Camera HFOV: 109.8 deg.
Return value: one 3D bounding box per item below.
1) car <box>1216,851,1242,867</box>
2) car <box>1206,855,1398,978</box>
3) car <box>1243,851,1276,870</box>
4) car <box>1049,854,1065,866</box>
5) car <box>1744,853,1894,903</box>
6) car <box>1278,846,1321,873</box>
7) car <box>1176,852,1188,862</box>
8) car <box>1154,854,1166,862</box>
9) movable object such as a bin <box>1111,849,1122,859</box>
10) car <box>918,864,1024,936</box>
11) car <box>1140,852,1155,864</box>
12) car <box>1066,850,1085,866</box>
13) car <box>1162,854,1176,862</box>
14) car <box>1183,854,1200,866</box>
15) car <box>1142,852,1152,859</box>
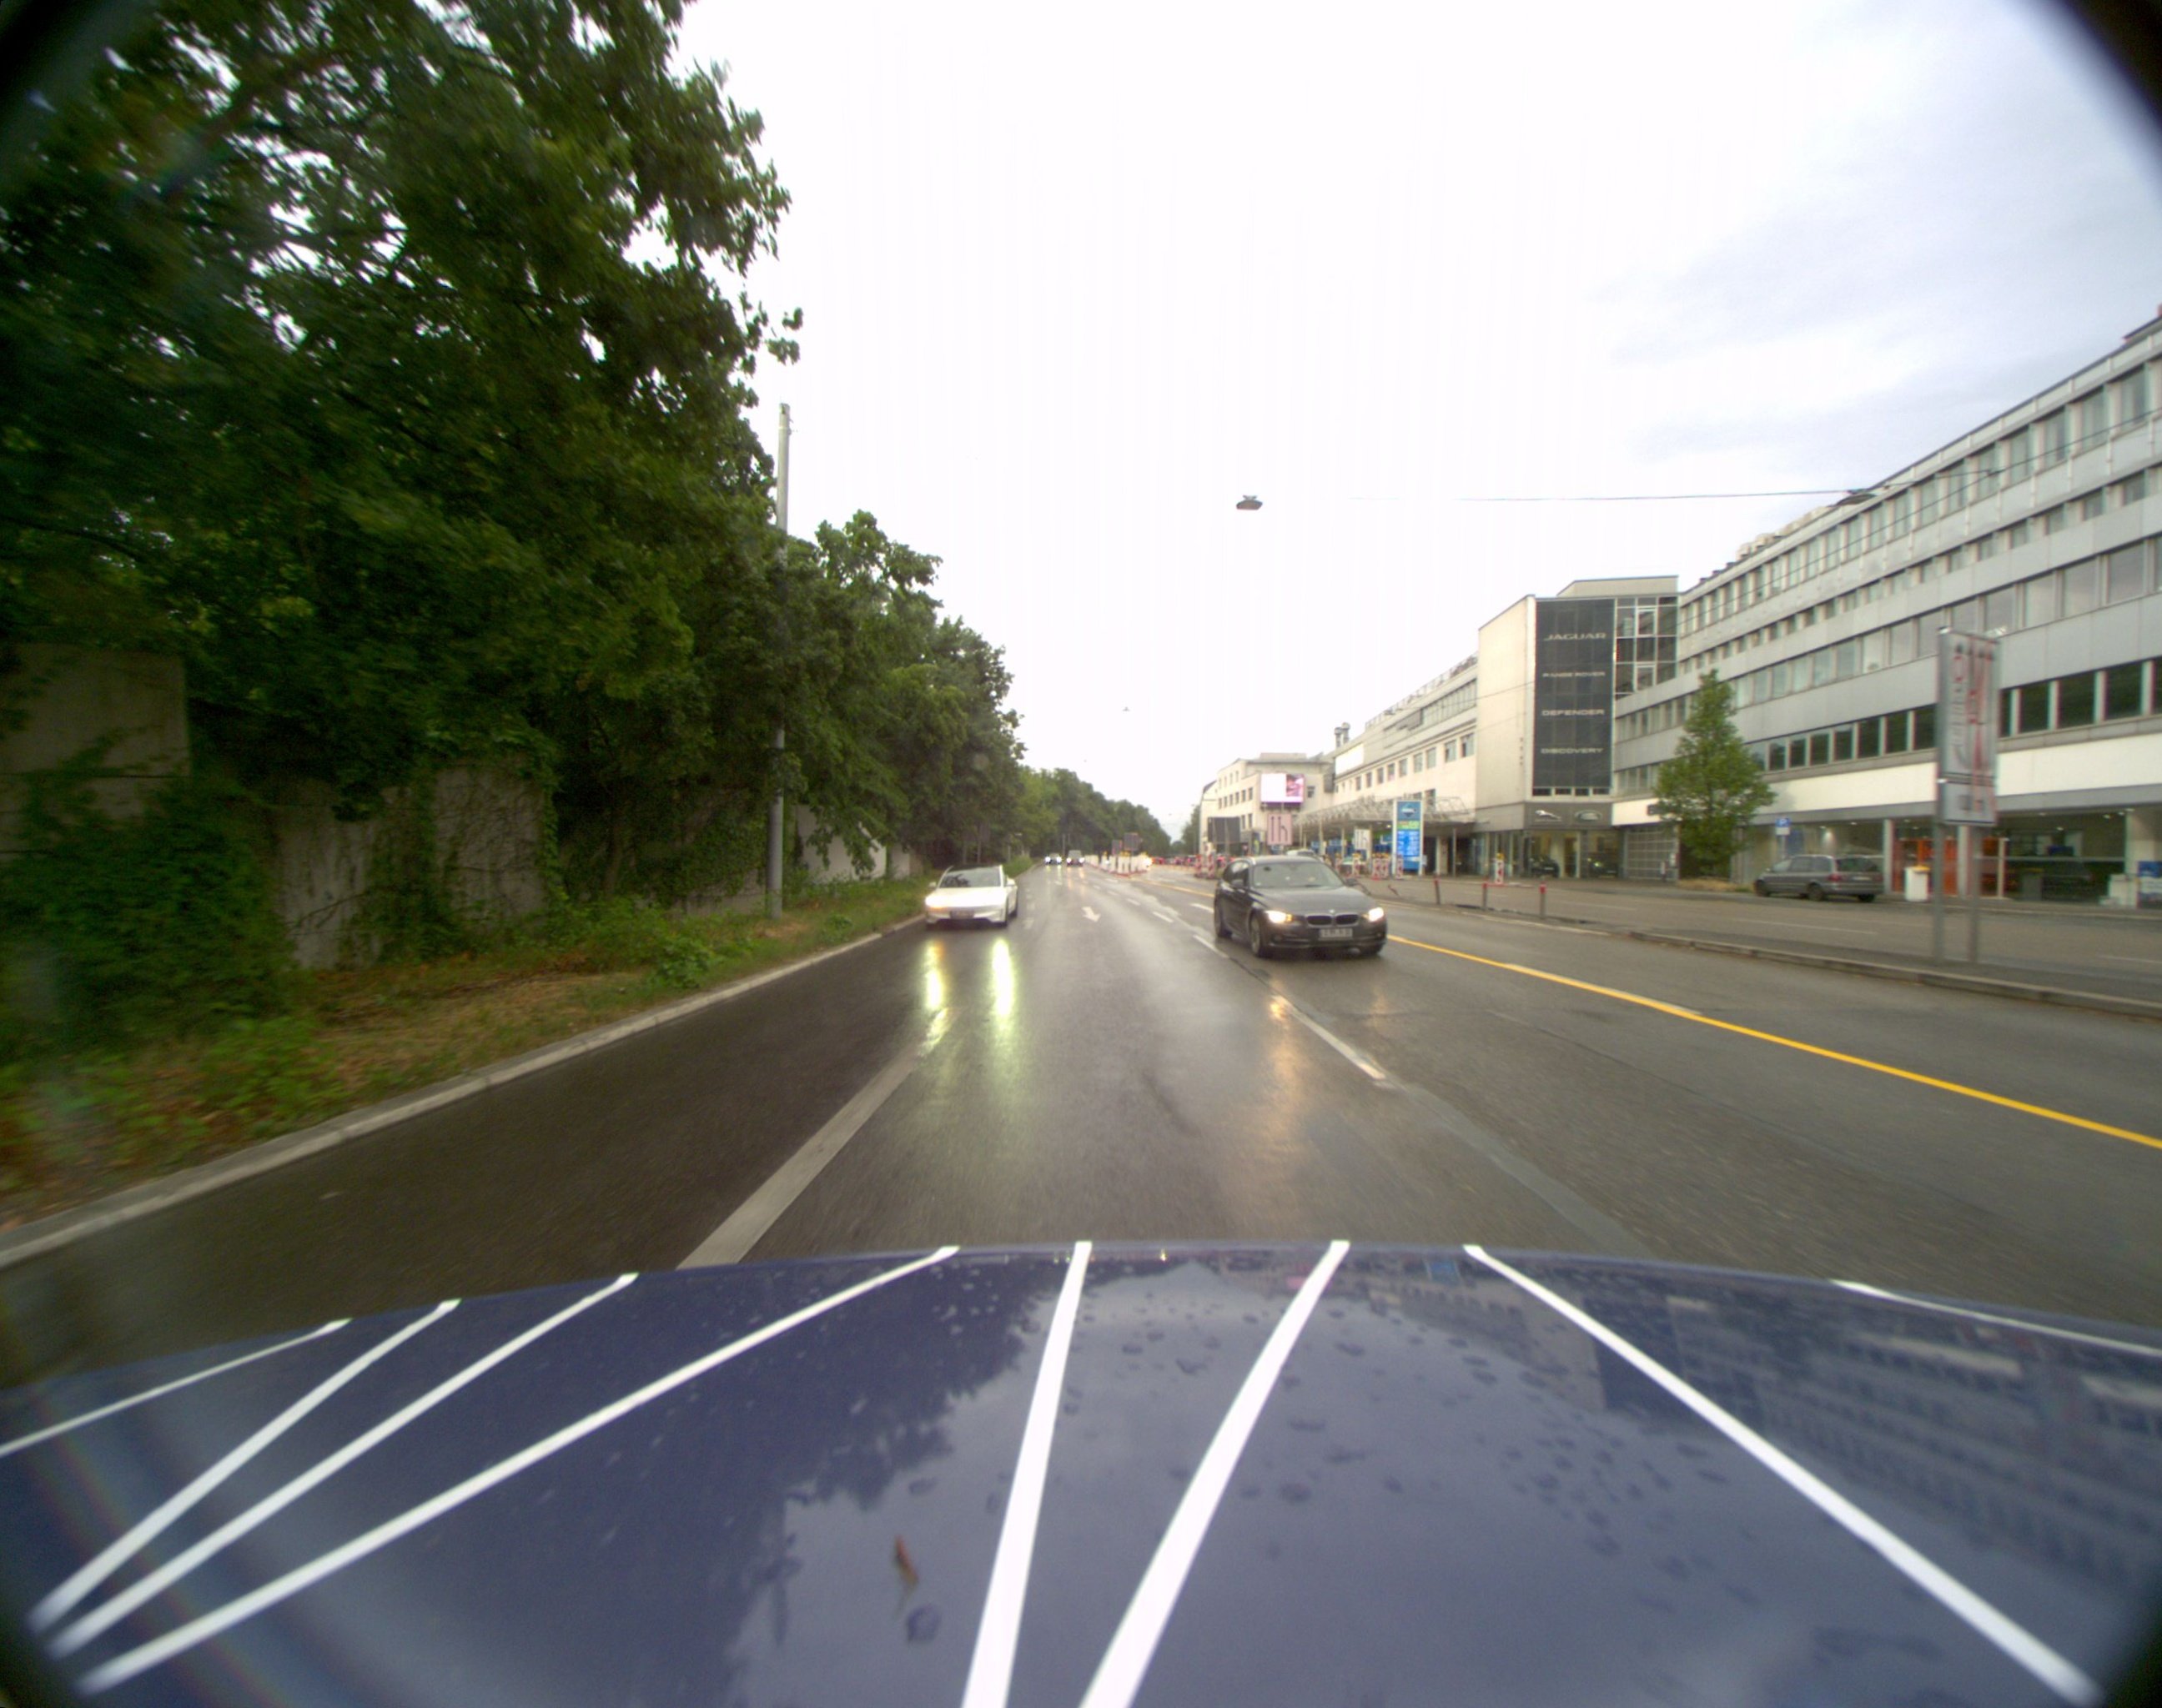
[{"bbox_3d":[15.950,0.506,82.012,1.850,1.727,4.604,1,0,1],"label":"car"},{"bbox_3d":[3.257,0.829,12.091,1.764,1.441,4.176,-3,1,0],"label":"car"},{"bbox_3d":[15.367,0.552,65.633,1.834,1.493,4.372,2,0,0],"label":"car"},{"bbox_3d":[-2.996,0.748,96.175,1.742,1.477,3.918,-2,0,1],"label":"car"},{"bbox_3d":[28.603,0.856,29.698,1.851,1.768,4.733,2,0,10],"label":"car"},{"bbox_3d":[15.569,0.359,54.278,1.738,1.775,4.300,2,0,-1],"label":"car"},{"bbox_3d":[17.018,0.449,128.426,1.755,1.505,4.000,1,1,3],"label":"car"},{"bbox_3d":[13.501,0.669,129.724,1.693,1.346,4.115,2,0,3],"label":"car"},{"bbox_3d":[7.561,0.068,162.762,1.997,2.099,3.852,2,0,7],"label":"movable object such as a bin"},{"bbox_3d":[-2.547,1.027,18.649,1.839,1.424,4.273,-2,1,1],"label":"car"},{"bbox_3d":[8.552,0.503,98.101,1.649,1.477,4.000,2,0,1],"label":"car"},{"bbox_3d":[-0.581,0.420,84.894,1.998,1.740,4.000,2,0,1],"label":"car"},{"bbox_3d":[17.990,0.807,155.419,1.985,1.697,4.830,1,0,-1],"label":"car"},{"bbox_3d":[15.033,0.760,103.730,1.812,1.549,4.301,1,0,1],"label":"car"},{"bbox_3d":[14.420,0.368,166.355,1.740,1.396,4.288,0,0,-1],"label":"car"}]
